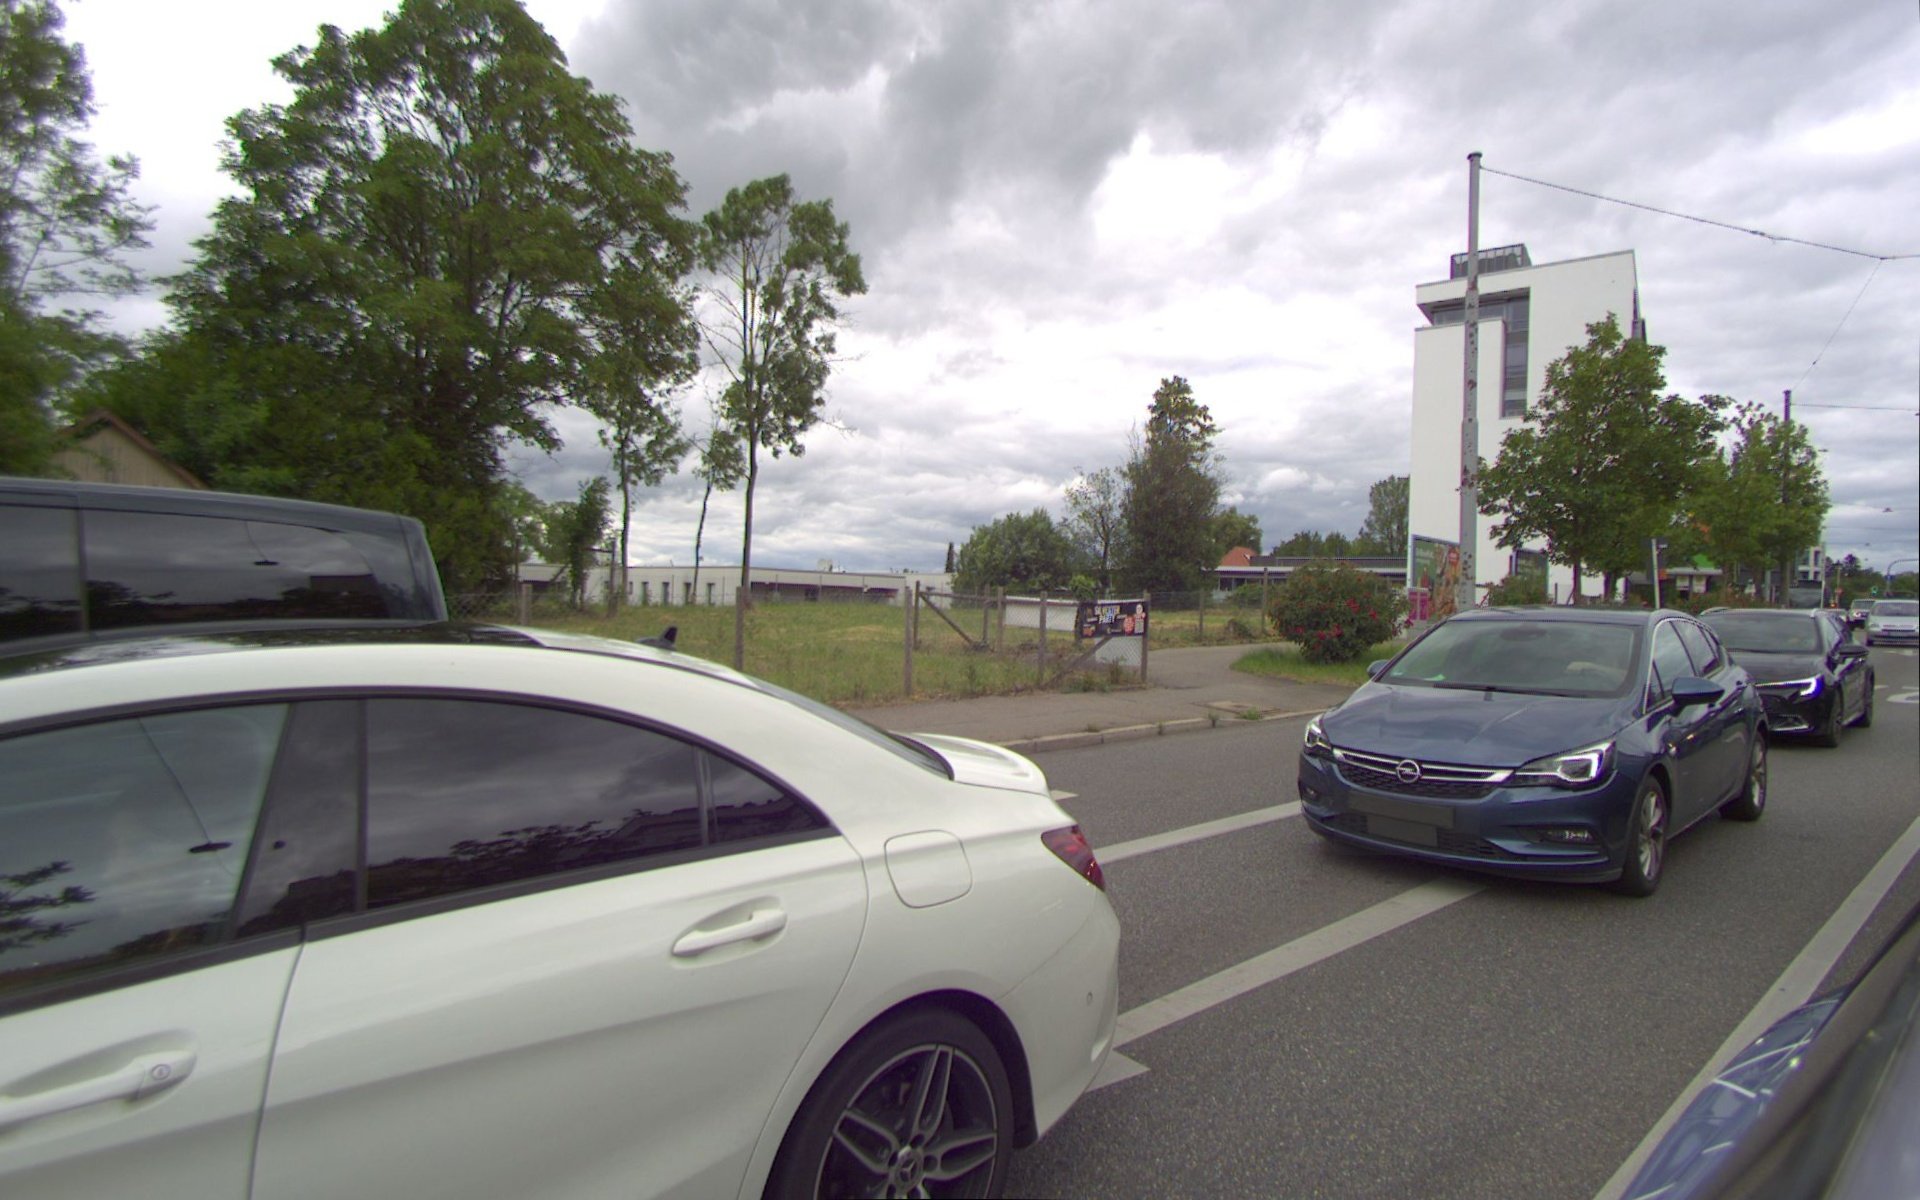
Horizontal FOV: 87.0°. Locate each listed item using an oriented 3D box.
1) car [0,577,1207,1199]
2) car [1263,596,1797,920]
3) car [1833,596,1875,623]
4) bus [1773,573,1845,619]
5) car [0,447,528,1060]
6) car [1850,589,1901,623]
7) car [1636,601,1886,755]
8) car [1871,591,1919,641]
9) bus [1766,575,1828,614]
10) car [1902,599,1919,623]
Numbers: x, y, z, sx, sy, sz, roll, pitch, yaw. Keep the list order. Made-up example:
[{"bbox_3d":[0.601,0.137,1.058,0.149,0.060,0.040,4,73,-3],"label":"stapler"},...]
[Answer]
[{"bbox_3d":[-1.538,0.695,1.810,4.300,1.451,1.652,0,1,-41],"label":"car"},{"bbox_3d":[3.810,0.691,6.476,3.931,1.428,1.825,0,0,-42],"label":"car"},{"bbox_3d":[65.120,0.637,73.751,1.990,1.844,3.945,2,2,38],"label":"car"},{"bbox_3d":[53.957,-0.307,64.566,2.952,2.664,11.986,0,1,37],"label":"bus"},{"bbox_3d":[-4.122,0.472,3.326,4.627,1.863,1.952,0,-1,-41],"label":"car"},{"bbox_3d":[54.620,0.354,60.439,1.842,1.910,4.081,-1,-1,37],"label":"car"},{"bbox_3d":[9.367,0.756,11.731,3.854,1.475,1.663,0,0,-42],"label":"car"},{"bbox_3d":[33.170,0.529,35.140,3.717,1.637,1.849,0,-1,-41],"label":"car"},{"bbox_3d":[61.425,-0.440,74.465,2.952,2.664,12.751,0,1,37],"label":"bus"},{"bbox_3d":[69.523,0.771,73.056,1.991,1.705,3.941,-2,-1,41],"label":"car"}]
